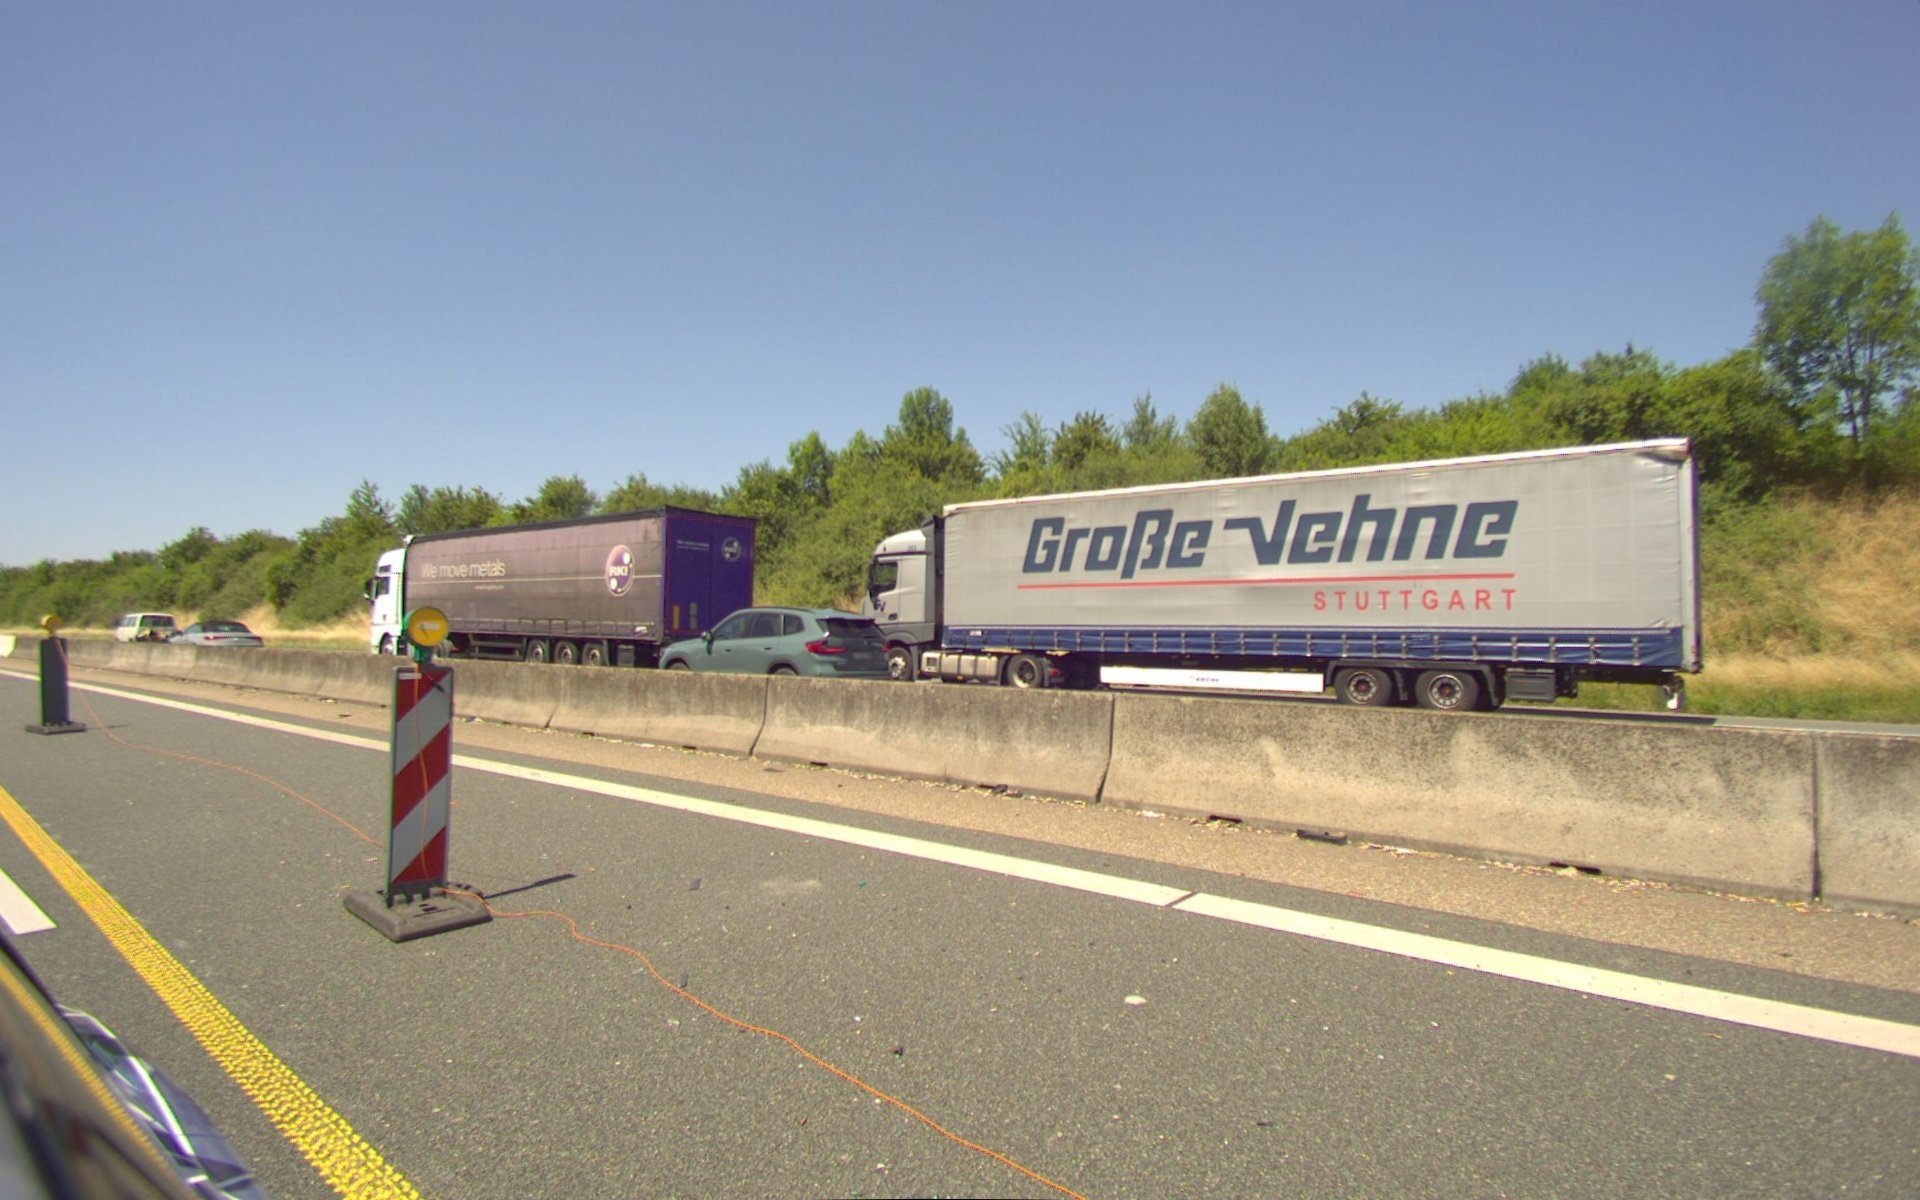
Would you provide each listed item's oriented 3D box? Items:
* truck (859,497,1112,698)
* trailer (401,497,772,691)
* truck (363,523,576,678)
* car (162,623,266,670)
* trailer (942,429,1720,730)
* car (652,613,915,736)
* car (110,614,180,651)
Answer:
[{"bbox_3d":[0.537,0.031,23.534,5.191,4.108,2.916,-1,-3,39],"label":"truck"},{"bbox_3d":[-10.758,0.016,27.601,13.672,4.212,3.128,-1,-2,40],"label":"trailer"},{"bbox_3d":[-15.350,0.104,31.415,7.408,4.257,3.132,-1,-2,40],"label":"truck"},{"bbox_3d":[-24.979,1.504,33.825,4.630,1.482,1.744,-1,-2,40],"label":"car"},{"bbox_3d":[5.798,-0.103,19.173,13.623,4.093,2.923,-1,-3,39],"label":"trailer"},{"bbox_3d":[-2.953,1.107,16.424,4.392,1.728,1.823,-1,-2,40],"label":"car"},{"bbox_3d":[-41.190,1.620,51.102,5.452,1.806,1.847,-1,-2,41],"label":"car"}]
